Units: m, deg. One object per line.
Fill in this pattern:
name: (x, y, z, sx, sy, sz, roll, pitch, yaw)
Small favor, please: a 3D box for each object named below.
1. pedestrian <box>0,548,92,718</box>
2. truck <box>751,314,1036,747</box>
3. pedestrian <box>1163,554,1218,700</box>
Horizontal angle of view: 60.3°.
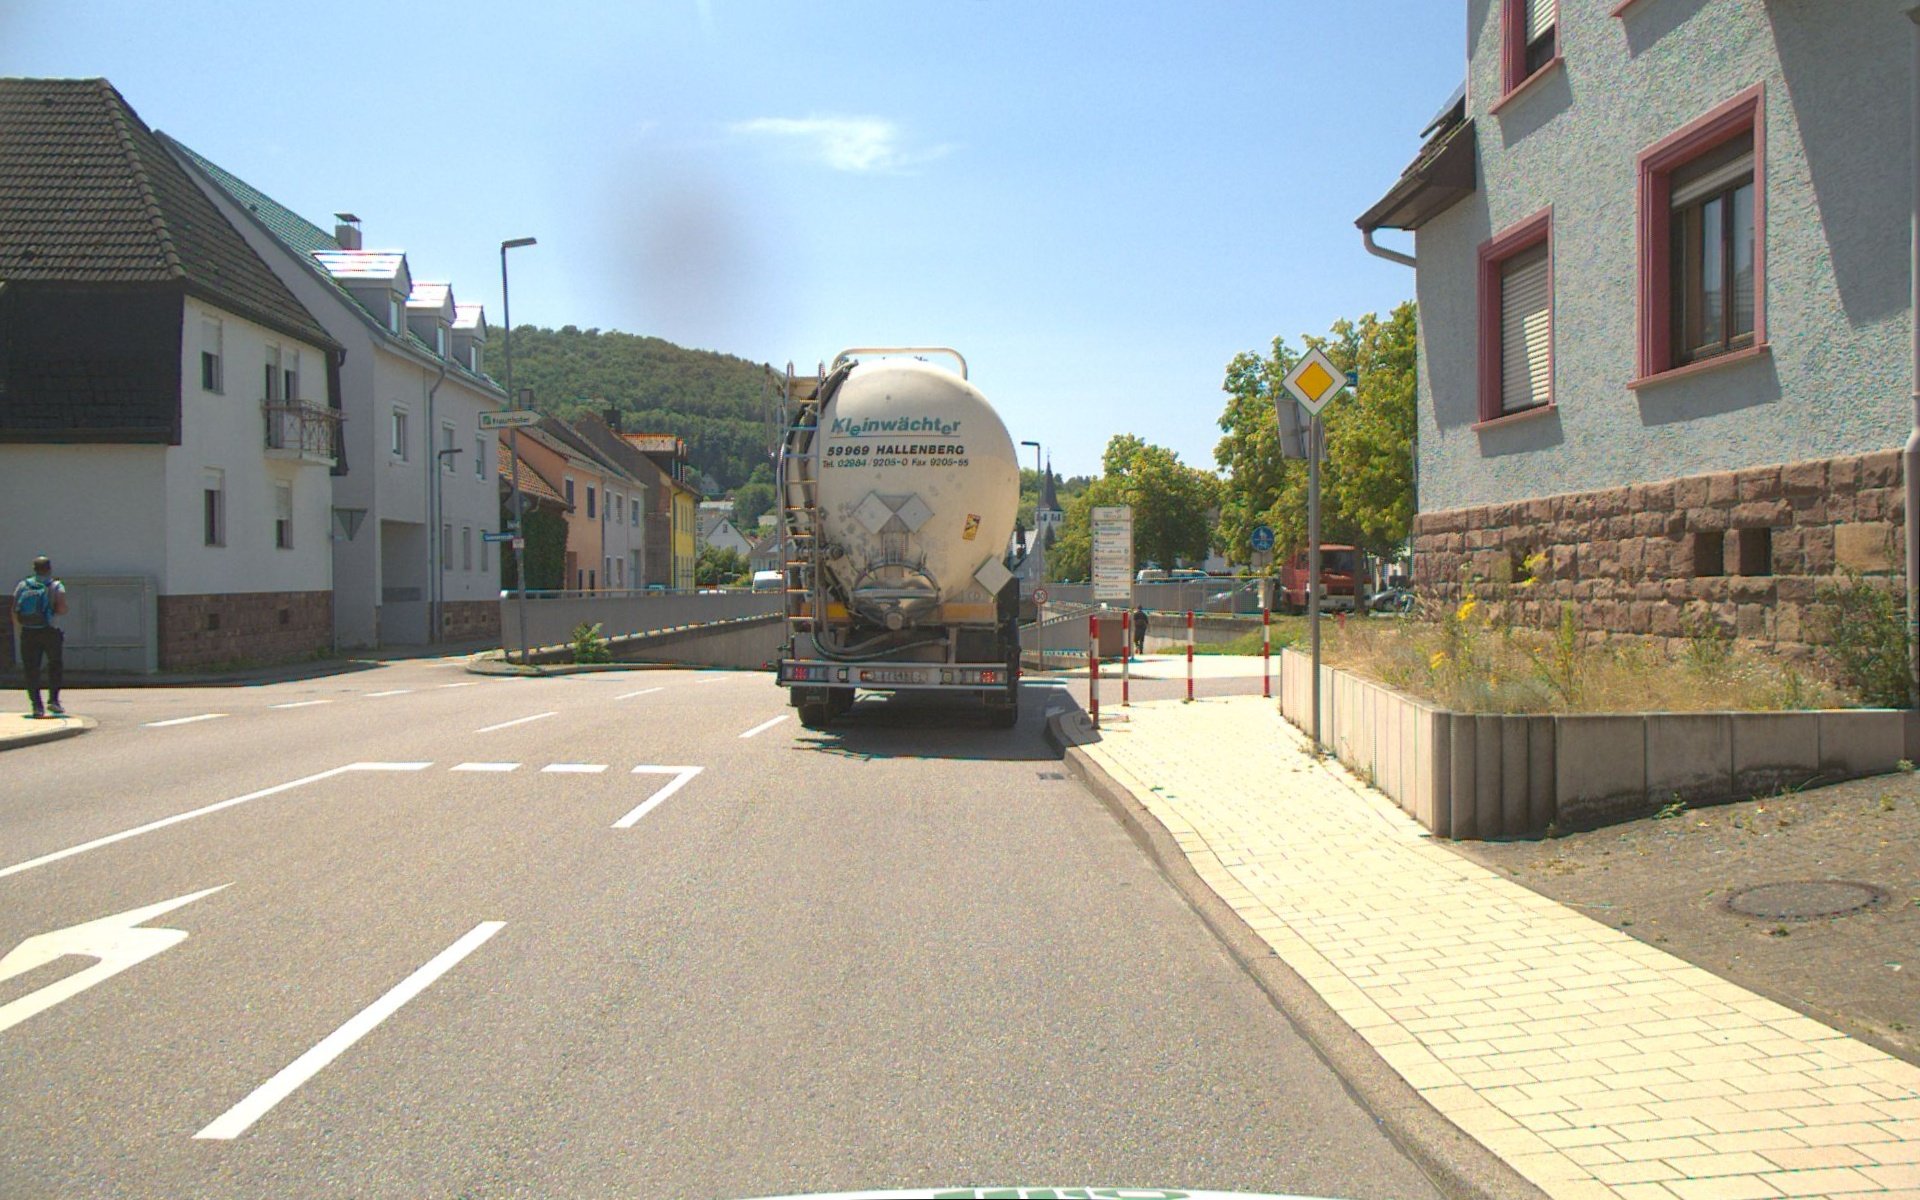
pedestrian: (-10.352, 0.366, 18.607, 0.698, 1.855, 0.897, 1, -1, -6)
truck: (-0.924, -0.677, 21.327, 2.695, 4.128, 10.882, 1, 0, -3)
pedestrian: (2.775, 0.326, 19.946, 0.559, 1.723, 0.721, 1, -1, 1)
